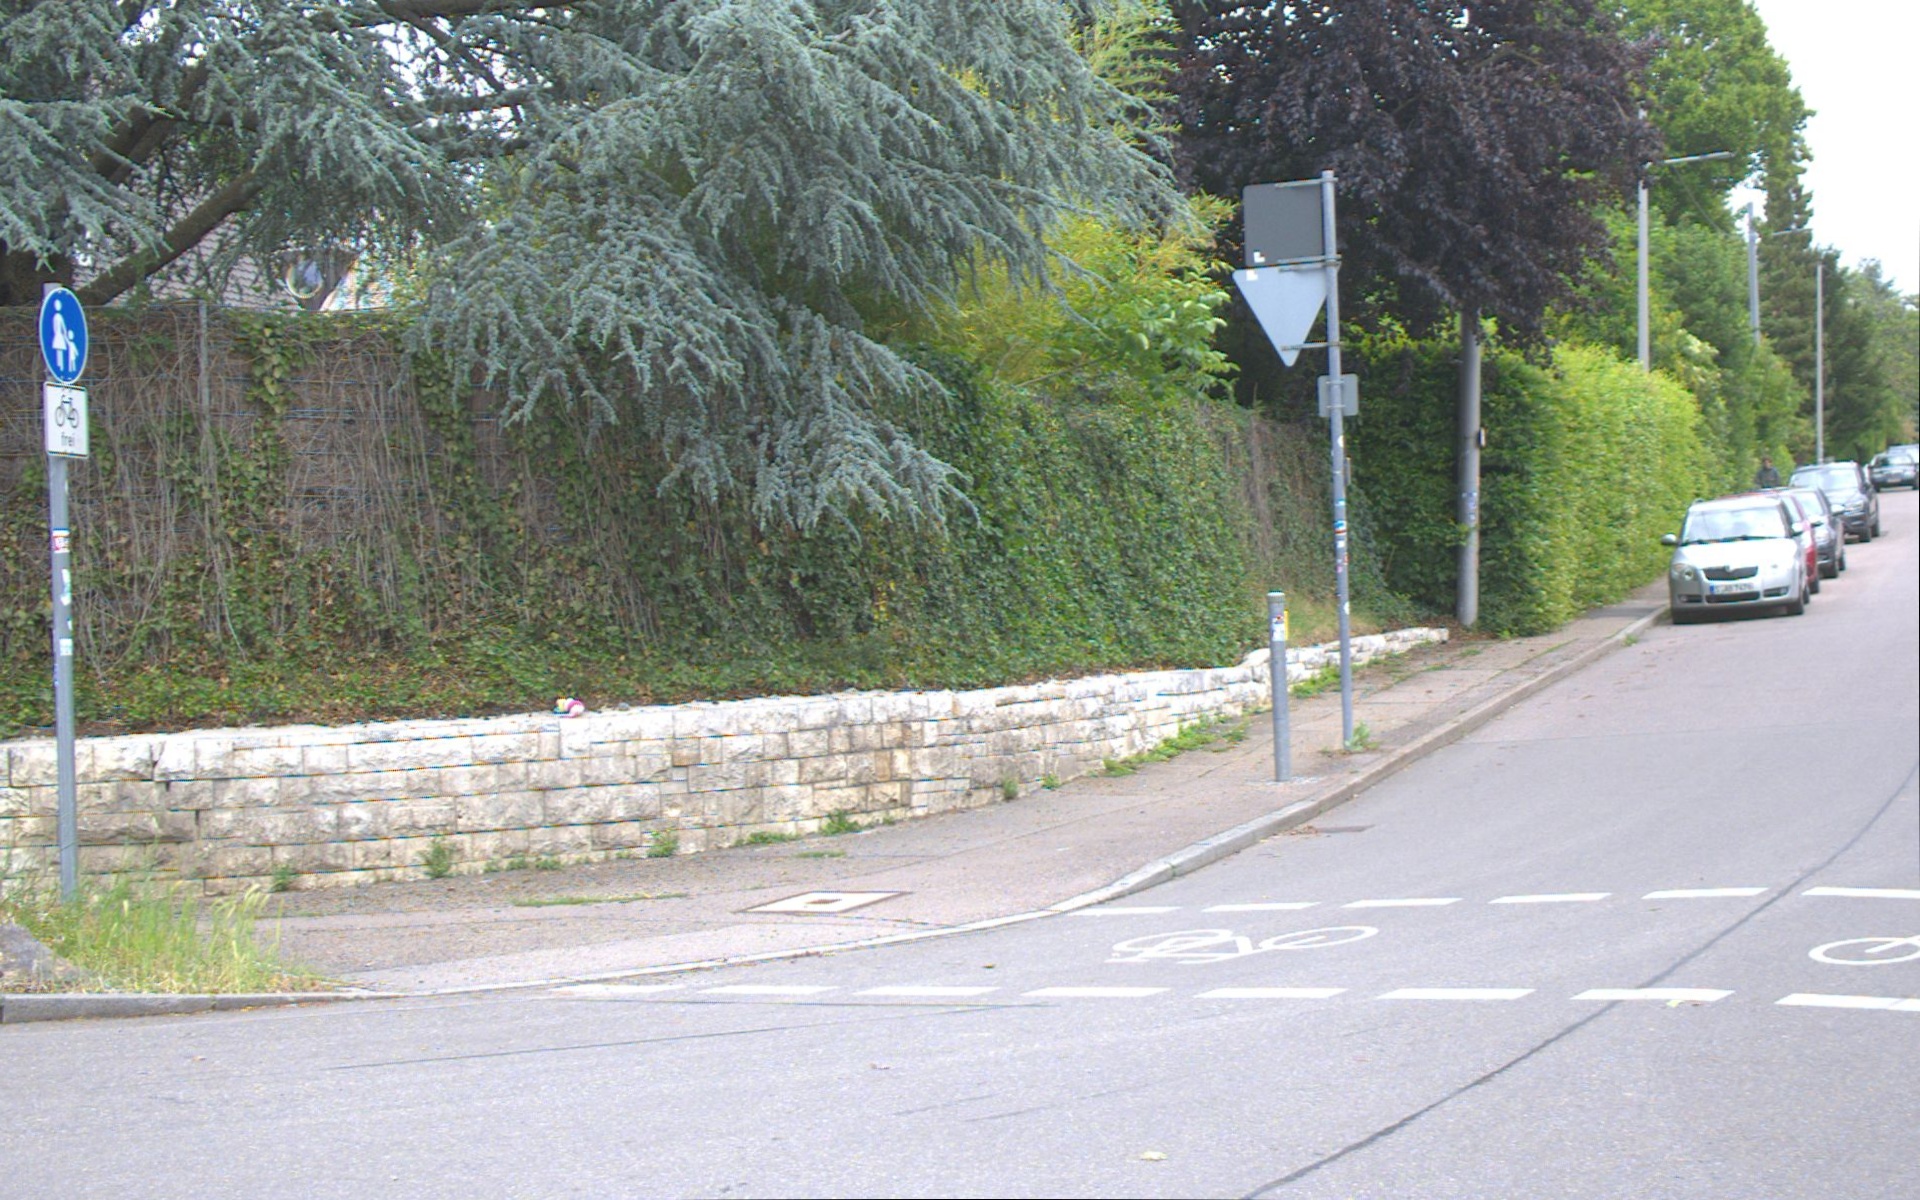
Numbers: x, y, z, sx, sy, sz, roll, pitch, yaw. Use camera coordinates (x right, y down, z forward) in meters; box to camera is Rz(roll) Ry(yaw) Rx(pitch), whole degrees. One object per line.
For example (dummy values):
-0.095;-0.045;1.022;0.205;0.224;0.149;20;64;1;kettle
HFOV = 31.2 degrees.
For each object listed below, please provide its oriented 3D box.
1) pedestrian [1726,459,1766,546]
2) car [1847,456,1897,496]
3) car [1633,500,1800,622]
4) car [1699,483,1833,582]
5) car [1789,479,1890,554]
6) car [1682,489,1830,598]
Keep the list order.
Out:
18.369;-2.283;80.372;0.853;2.006;0.872;0;2;11;pedestrian
34.195;-4.629;128.874;1.716;1.458;3.654;0;2;16;car
9.781;-0.530;44.245;1.948;1.437;3.998;-2;1;14;car
12.689;-1.077;54.016;1.948;1.437;3.998;-2;1;14;car
18.169;-1.727;71.081;1.948;1.437;3.998;-2;1;14;car
11.409;-0.829;49.134;1.948;1.437;3.998;-2;1;14;car
